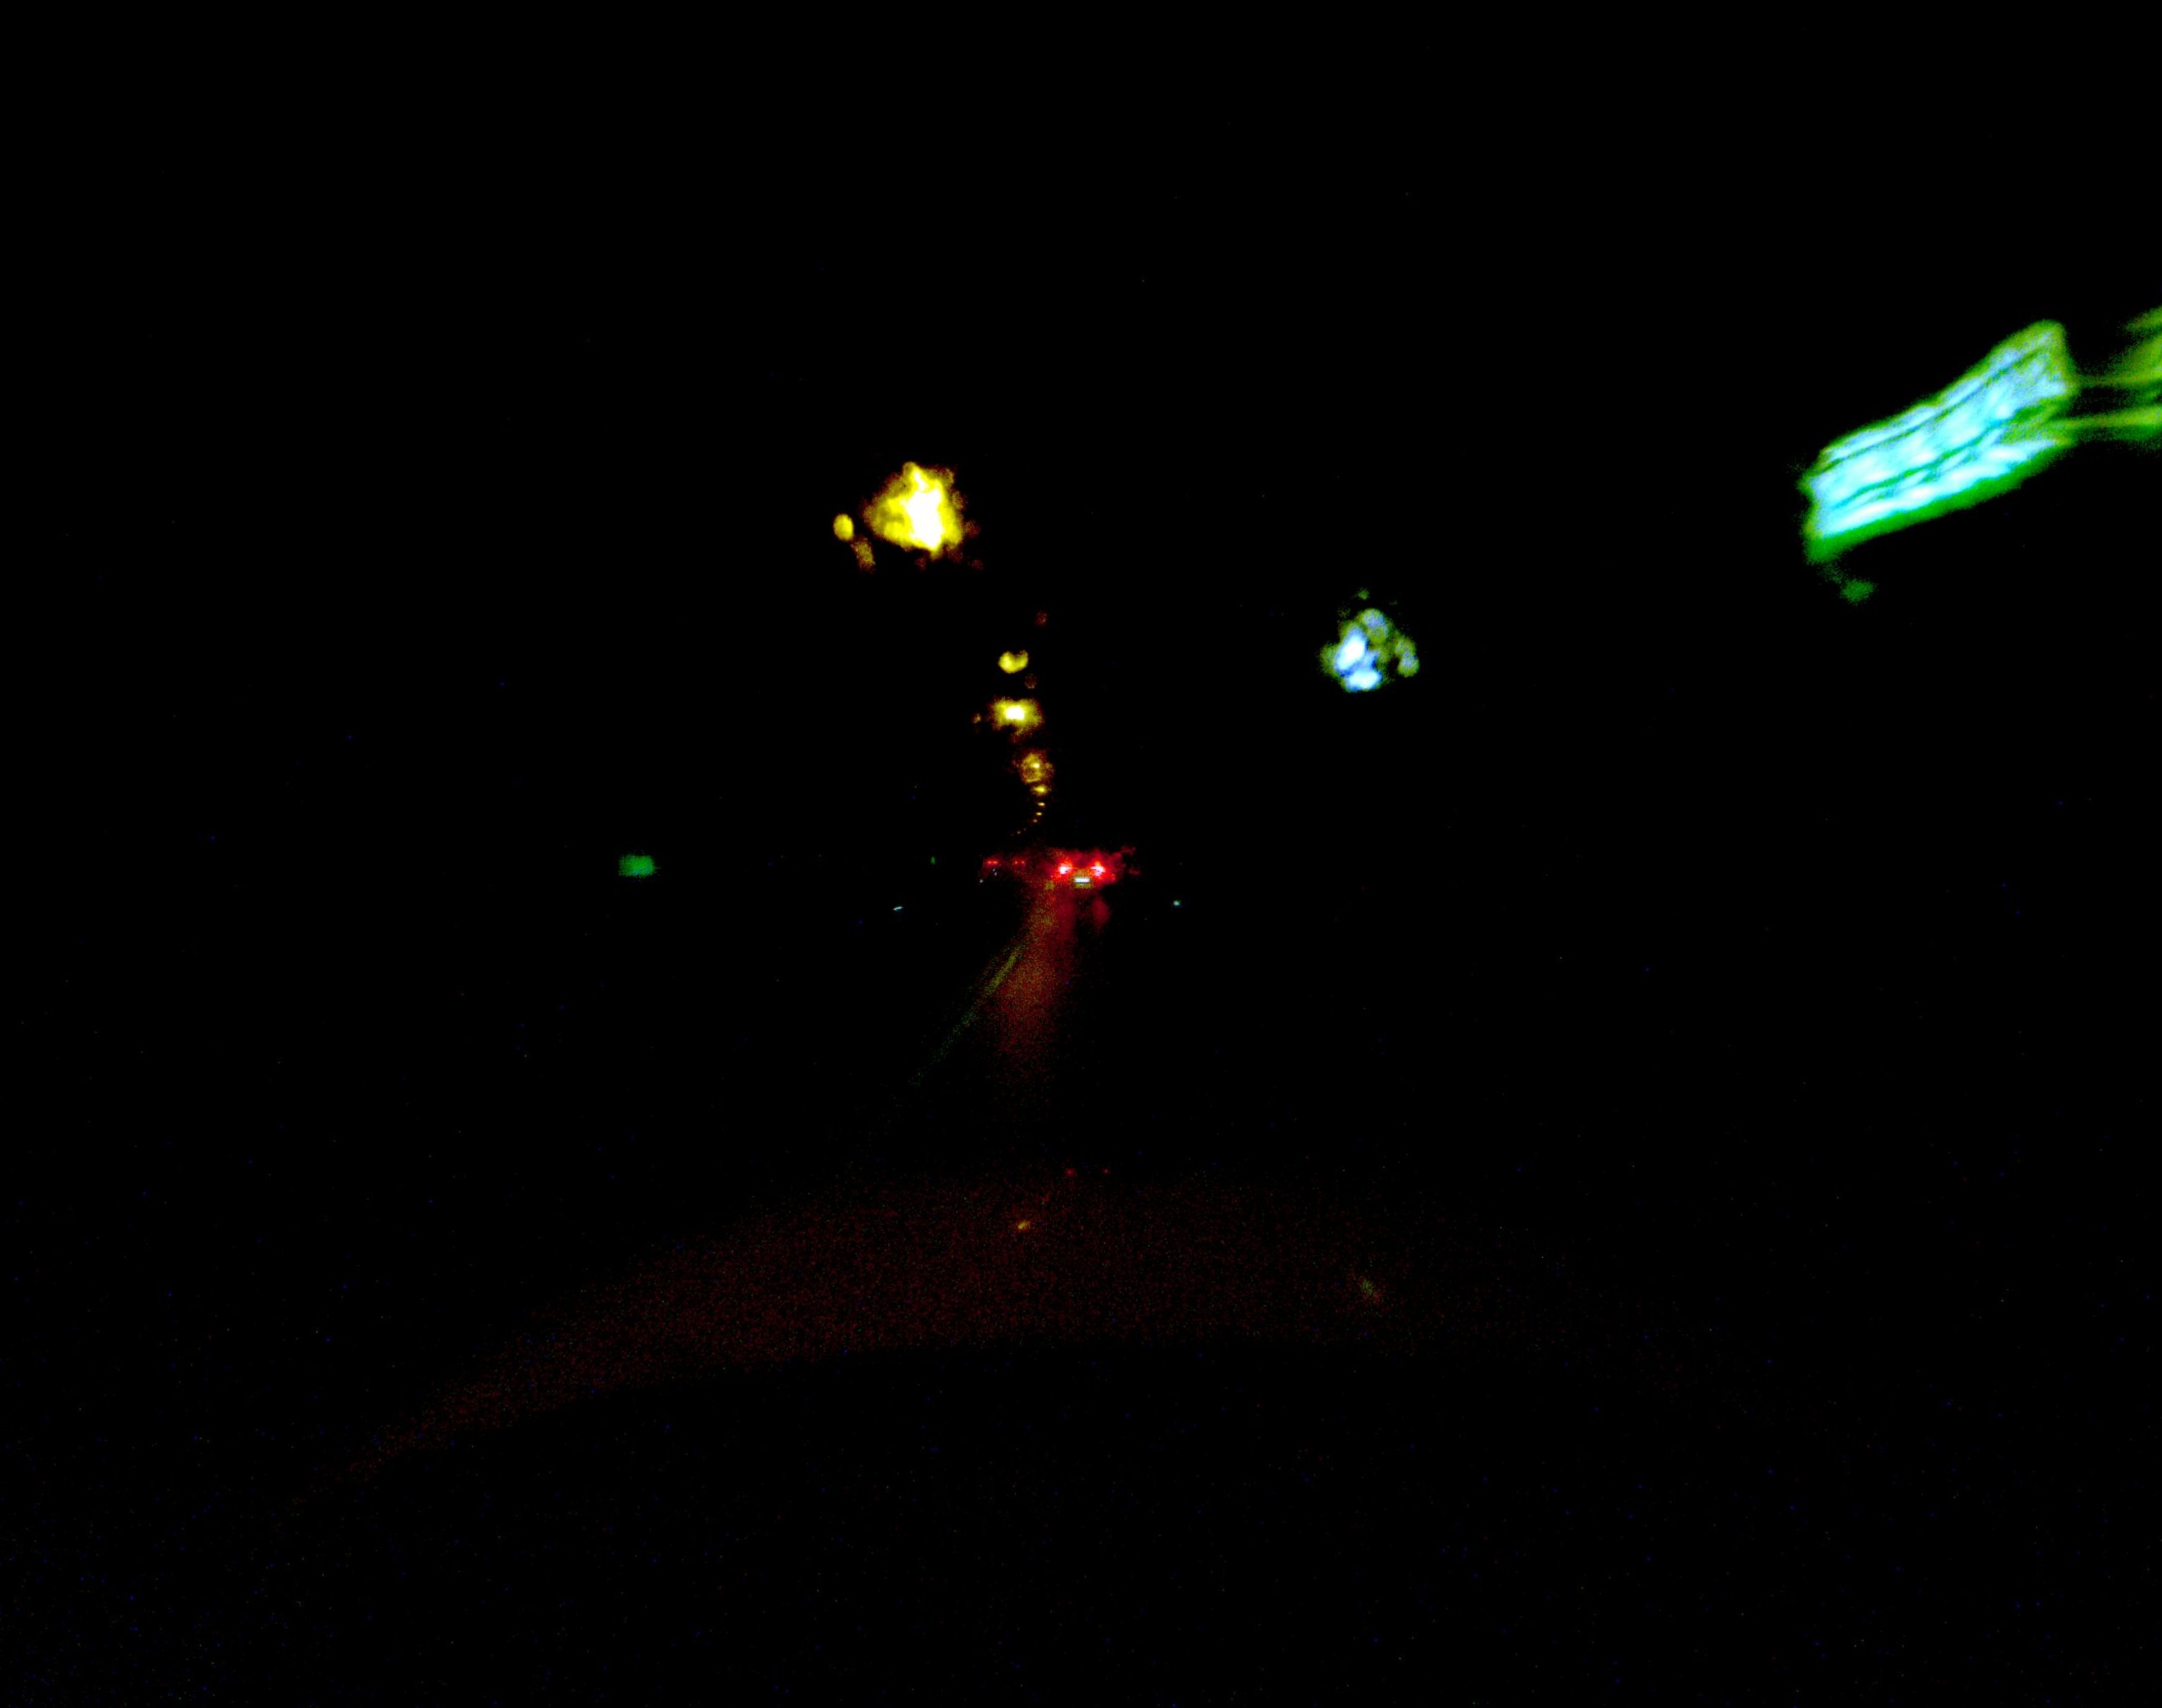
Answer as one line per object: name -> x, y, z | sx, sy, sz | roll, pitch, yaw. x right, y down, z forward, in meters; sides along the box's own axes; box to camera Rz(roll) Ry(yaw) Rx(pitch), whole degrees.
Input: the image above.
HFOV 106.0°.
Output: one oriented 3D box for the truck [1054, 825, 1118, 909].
truck -> 0.207, 0.487, 33.226 | 2.254, 3.011, 7.414 | 1, 0, 0
